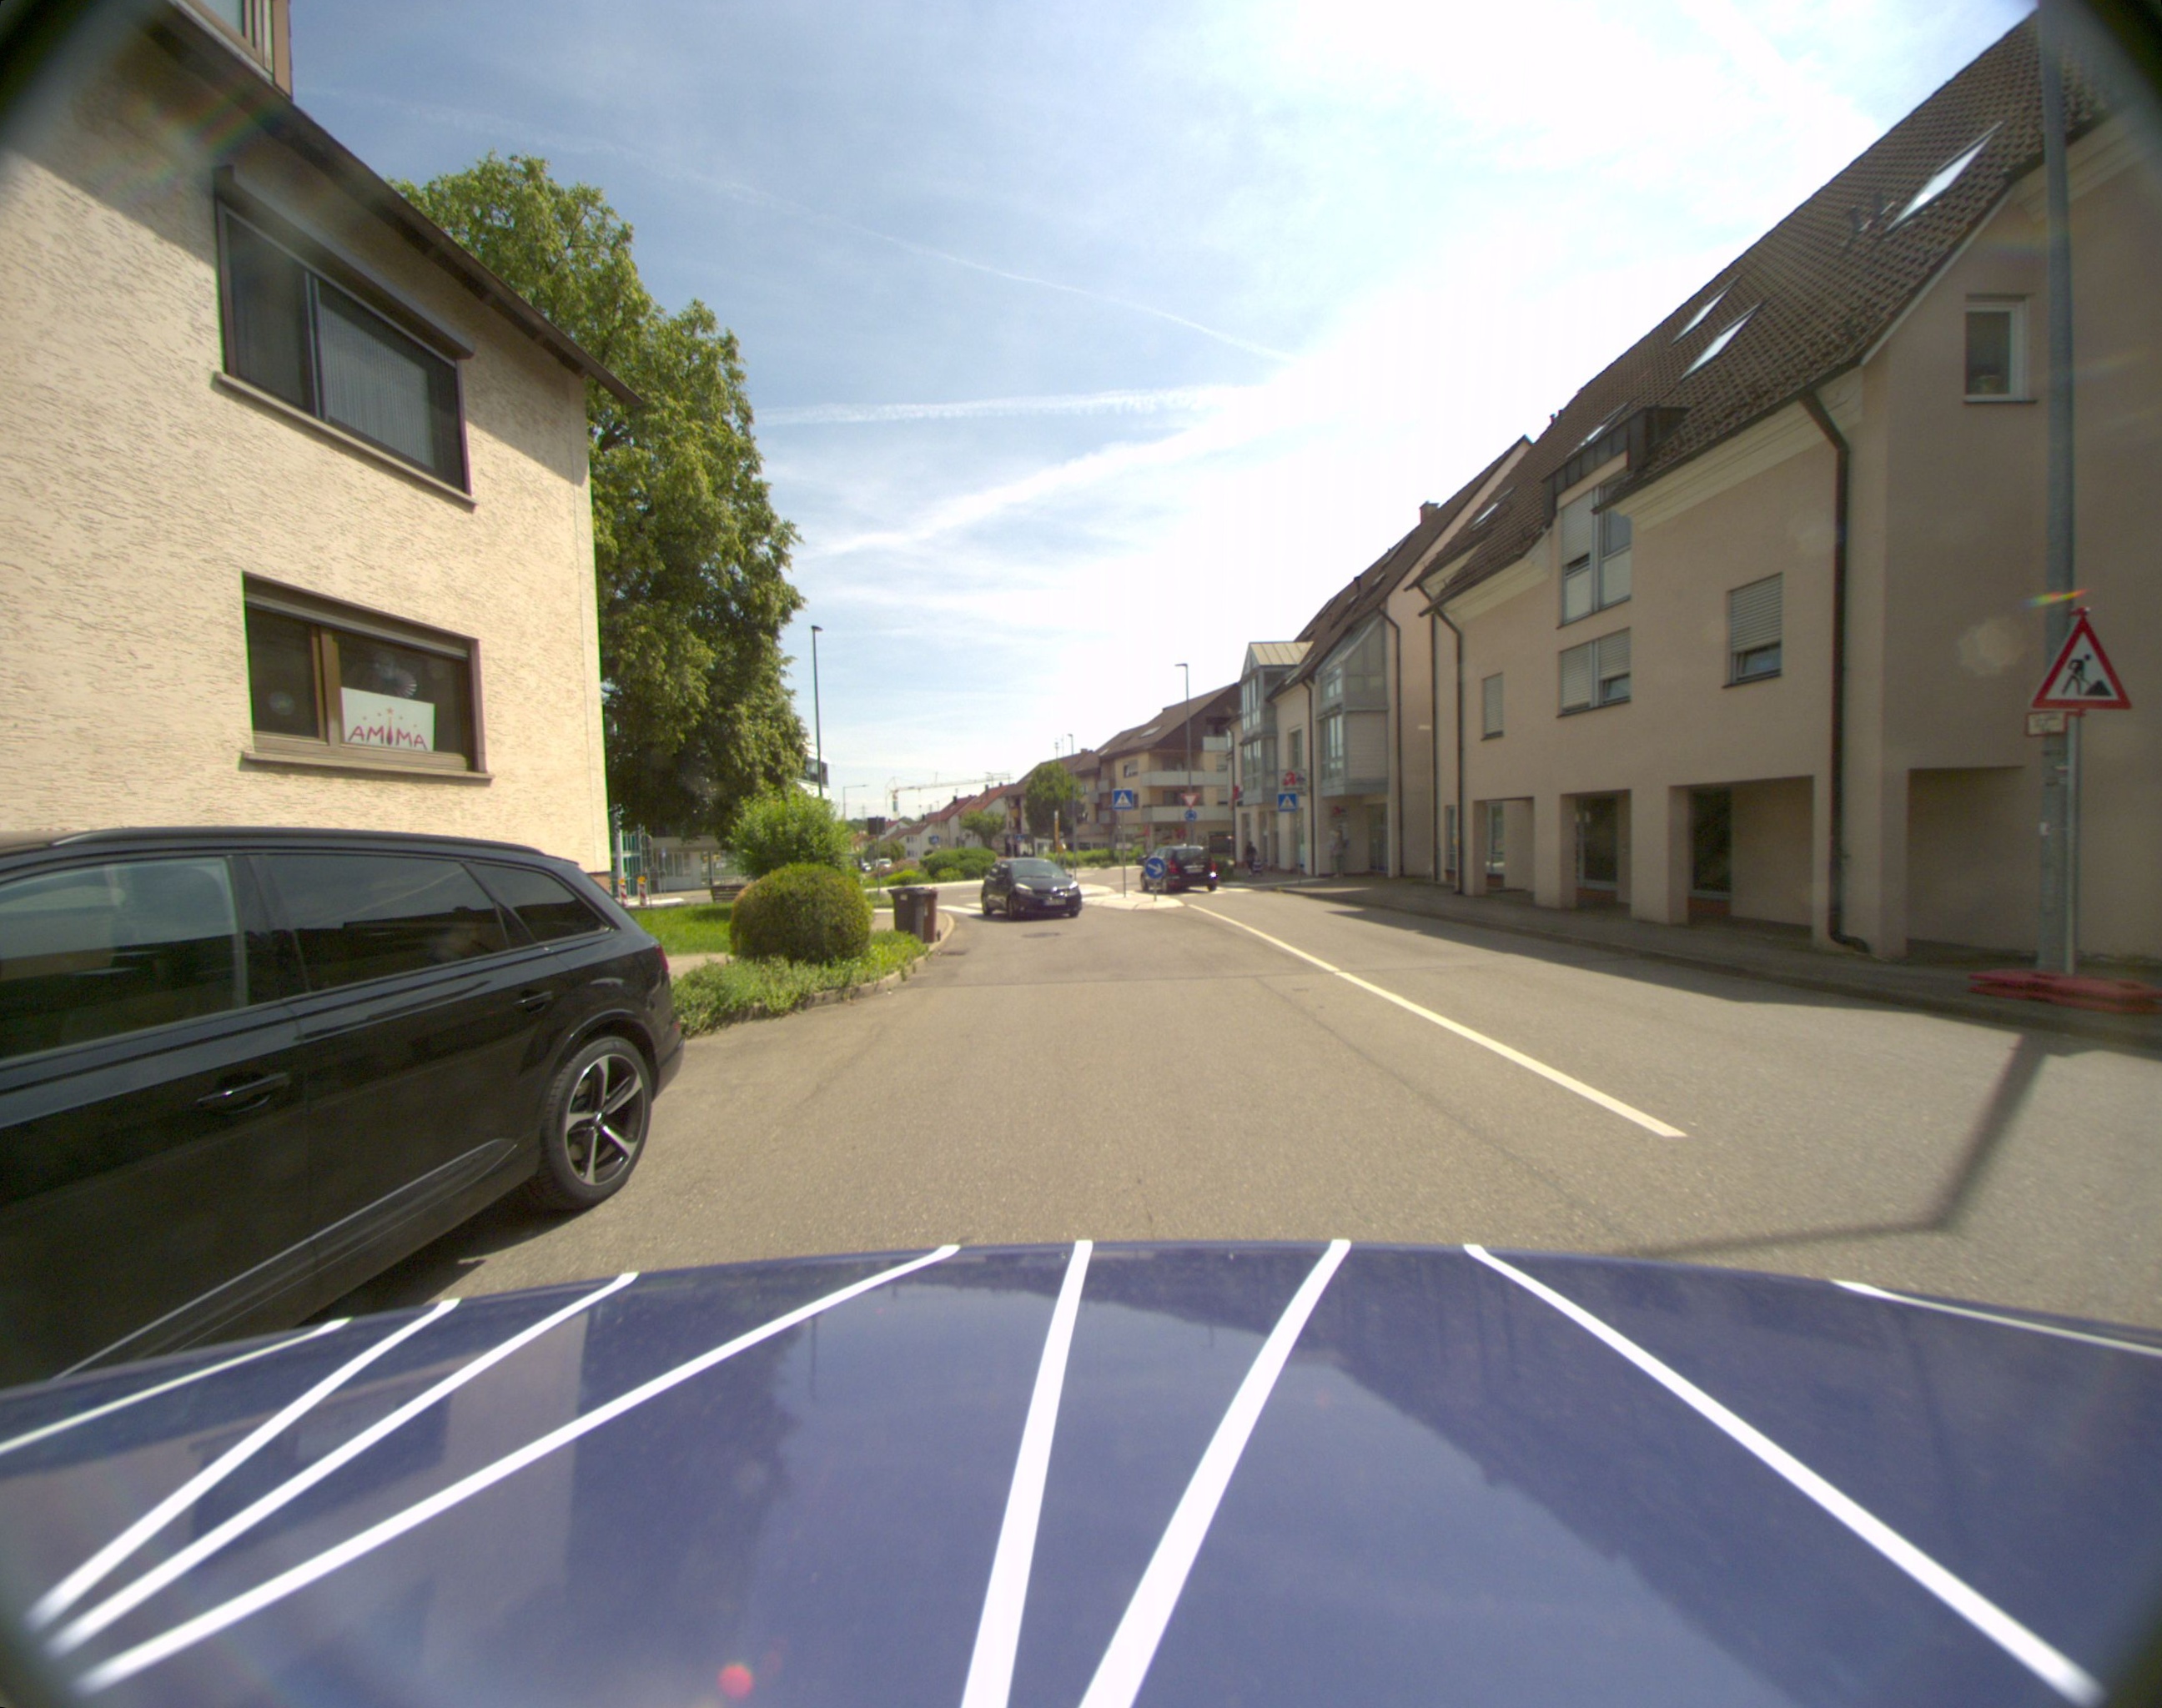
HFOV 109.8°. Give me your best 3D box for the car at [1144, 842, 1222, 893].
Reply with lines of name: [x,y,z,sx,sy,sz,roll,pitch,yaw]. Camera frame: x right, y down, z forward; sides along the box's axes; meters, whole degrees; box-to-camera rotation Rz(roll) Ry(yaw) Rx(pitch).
car: [3.434,0.412,26.321,1.757,1.575,3.942,-3,1,-6]

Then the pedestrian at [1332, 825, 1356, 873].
pedestrian: [9.688,-0.187,28.005,0.577,1.699,0.579,-3,1,2]

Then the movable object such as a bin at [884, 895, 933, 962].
movable object such as a bin: [-2.685,1.153,11.826,0.525,0.987,0.502,-2,1,15]

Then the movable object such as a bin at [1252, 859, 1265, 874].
movable object such as a bin: [7.220,0.500,30.890,0.458,0.578,0.469,-2,1,7]

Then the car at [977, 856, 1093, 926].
car: [-1.297,0.817,19.143,1.728,1.448,4.422,-3,1,-19]

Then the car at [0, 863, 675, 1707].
car: [-3.145,0.952,1.681,1.848,1.660,4.655,-3,1,1]

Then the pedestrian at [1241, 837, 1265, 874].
pedestrian: [7.085,0.061,31.287,0.801,1.469,0.957,-2,1,7]

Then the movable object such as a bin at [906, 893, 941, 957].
movable object such as a bin: [-2.630,1.177,12.716,0.502,0.988,0.503,-3,1,-8]
